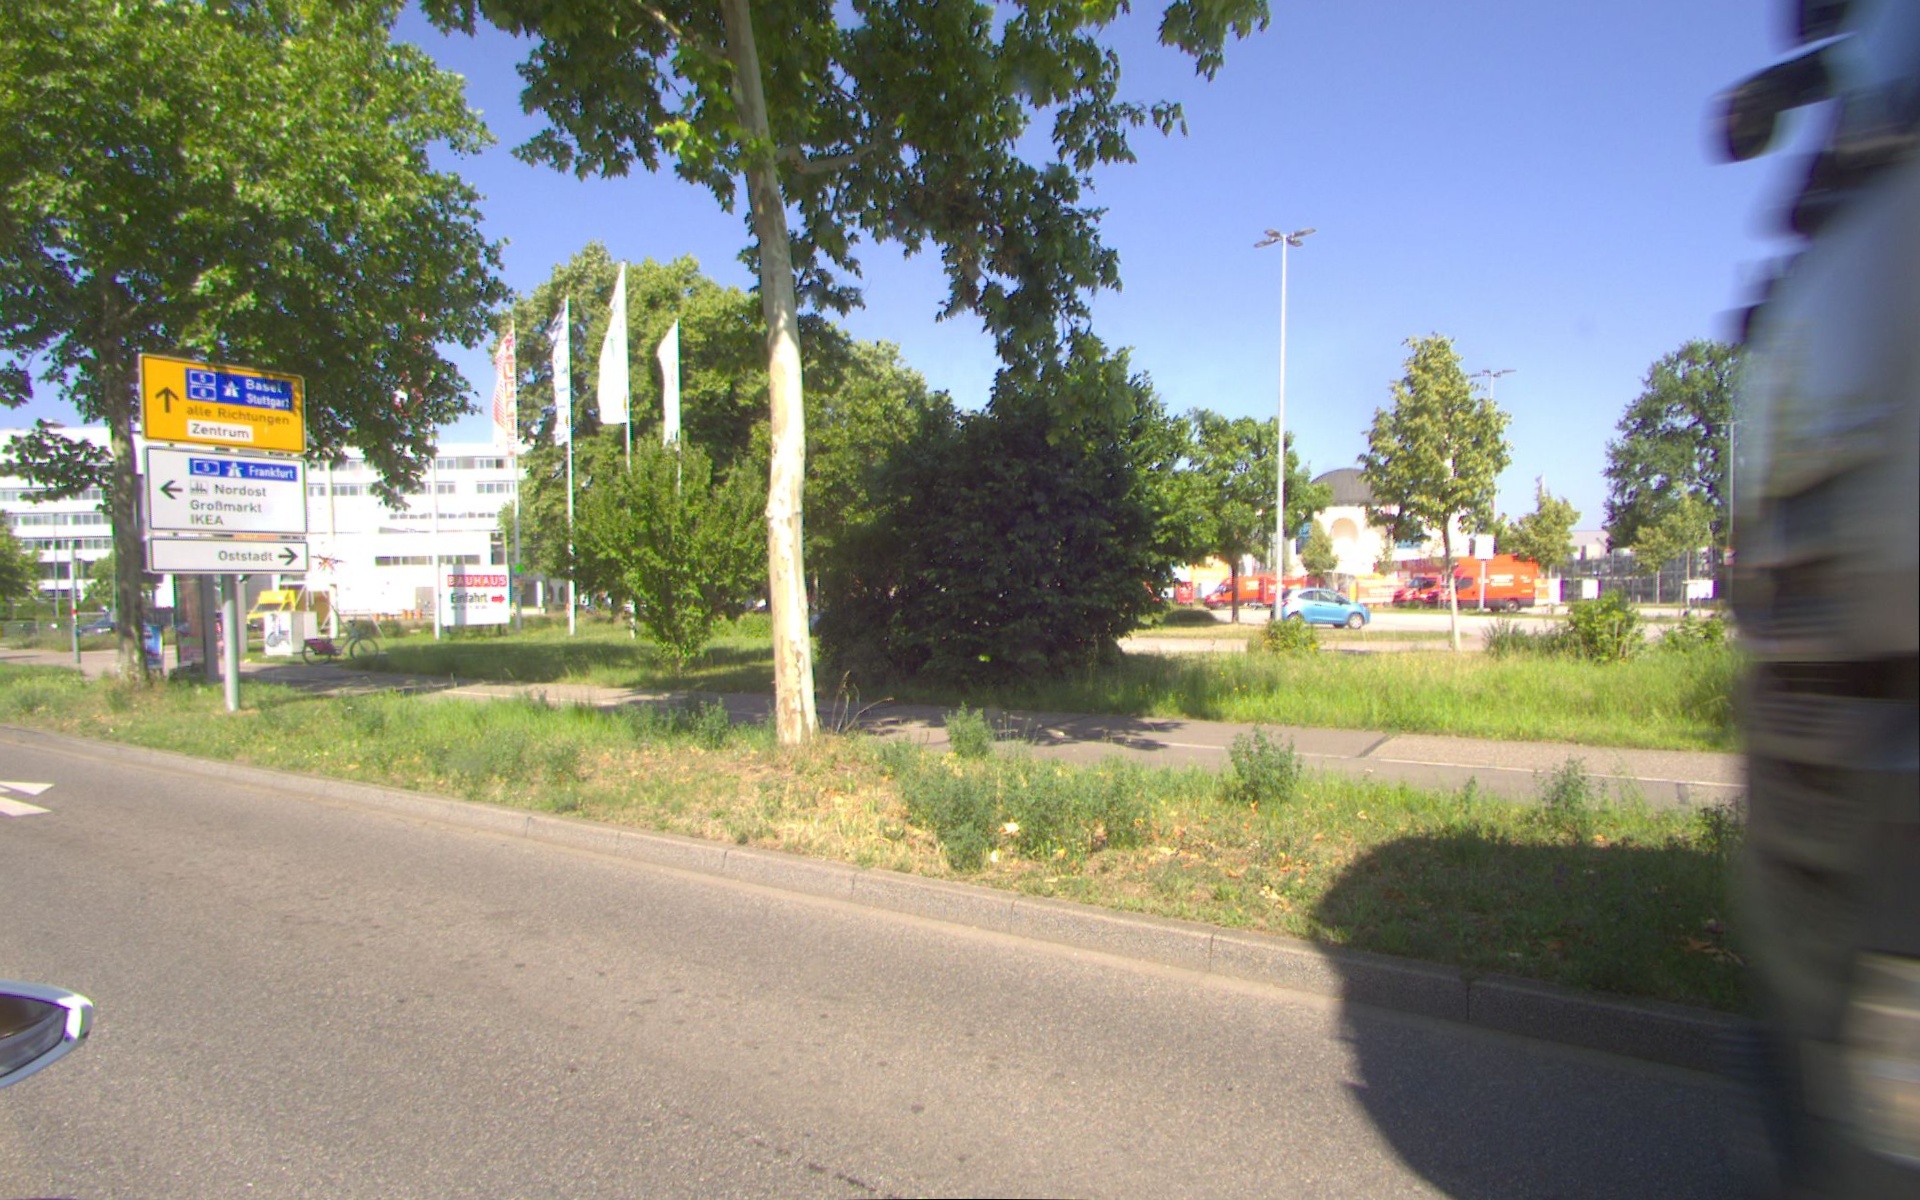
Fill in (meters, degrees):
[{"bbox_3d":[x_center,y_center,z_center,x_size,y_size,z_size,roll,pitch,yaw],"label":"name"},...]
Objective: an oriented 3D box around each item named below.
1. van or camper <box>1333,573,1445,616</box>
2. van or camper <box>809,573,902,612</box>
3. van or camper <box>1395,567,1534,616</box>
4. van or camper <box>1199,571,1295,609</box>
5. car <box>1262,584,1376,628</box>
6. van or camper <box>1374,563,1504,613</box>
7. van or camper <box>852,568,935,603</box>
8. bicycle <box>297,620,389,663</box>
[{"bbox_3d":[30.702,-0.392,71.762,7.145,2.979,2.001,0,-1,-2],"label":"van or camper"},{"bbox_3d":[-8.121,-0.545,78.482,7.145,2.979,2.001,0,-1,-2],"label":"van or camper"},{"bbox_3d":[29.440,-0.476,58.528,7.145,2.739,2.001,0,-1,-2],"label":"van or camper"},{"bbox_3d":[22.979,-0.783,80.323,7.145,2.979,2.001,0,-1,-2],"label":"van or camper"},{"bbox_3d":[13.224,0.231,37.041,3.580,1.561,1.753,0,-2,-3],"label":"car"},{"bbox_3d":[29.716,-0.729,62.277,7.145,2.979,2.001,0,-1,-2],"label":"van or camper"},{"bbox_3d":[-5.769,-1.274,87.467,7.145,2.979,2.001,0,-1,-2],"label":"van or camper"},{"bbox_3d":[-16.318,1.082,26.525,1.985,1.027,0.615,-1,1,-41],"label":"bicycle"}]
